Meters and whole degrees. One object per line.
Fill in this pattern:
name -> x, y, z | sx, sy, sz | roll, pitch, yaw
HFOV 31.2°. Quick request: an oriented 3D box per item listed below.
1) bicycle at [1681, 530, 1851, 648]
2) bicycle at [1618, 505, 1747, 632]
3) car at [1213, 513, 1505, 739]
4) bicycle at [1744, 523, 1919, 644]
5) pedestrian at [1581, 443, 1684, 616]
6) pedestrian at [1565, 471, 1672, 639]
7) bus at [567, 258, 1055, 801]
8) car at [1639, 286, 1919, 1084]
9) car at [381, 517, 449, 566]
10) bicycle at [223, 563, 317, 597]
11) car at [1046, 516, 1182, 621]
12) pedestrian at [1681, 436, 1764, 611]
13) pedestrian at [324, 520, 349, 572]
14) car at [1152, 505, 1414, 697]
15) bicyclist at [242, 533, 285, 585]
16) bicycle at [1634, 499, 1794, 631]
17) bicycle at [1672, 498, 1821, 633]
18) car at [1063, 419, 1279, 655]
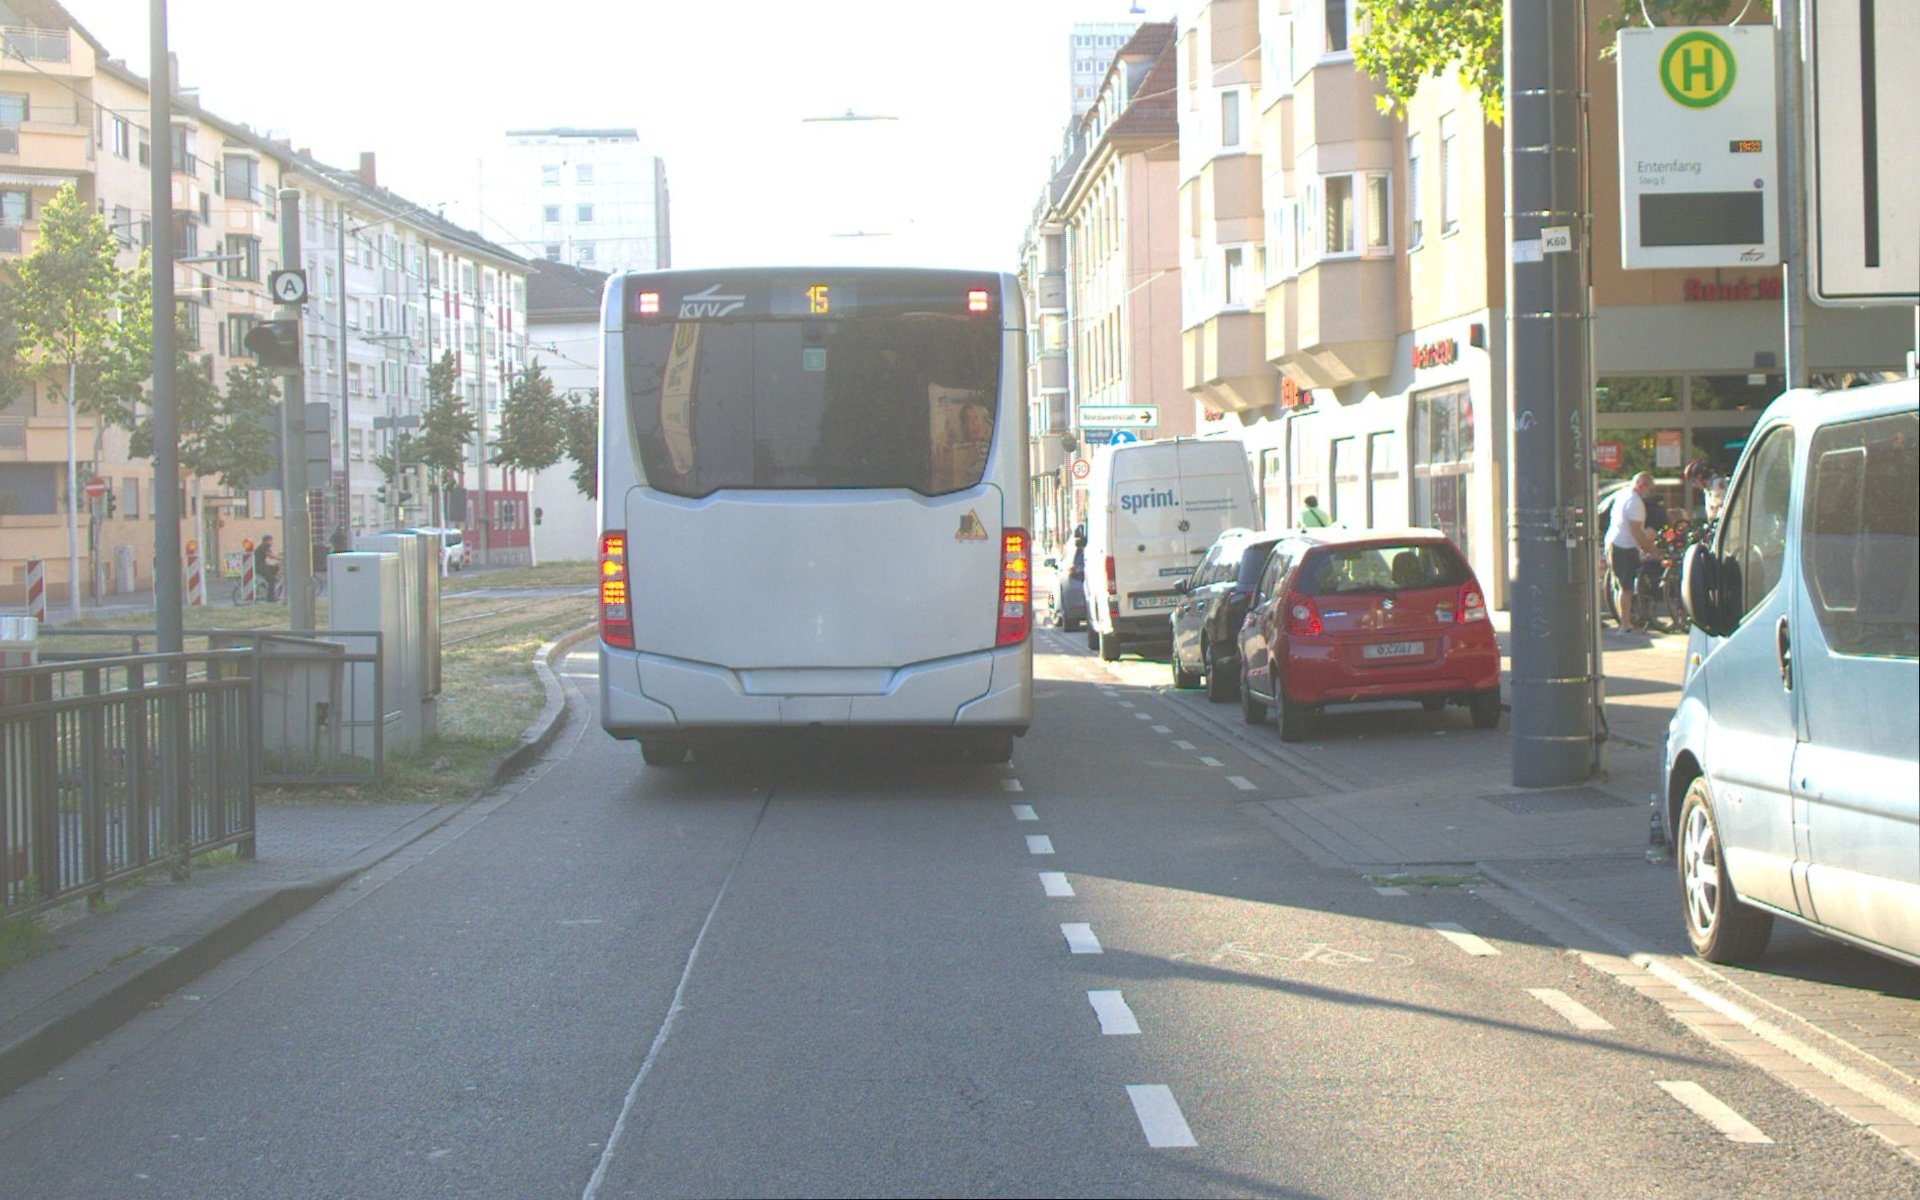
bicycle -> 7.311, -0.110, 31.167 | 1.578, 1.010, 0.651 | -3, 2, -39
bicycle -> 7.196, -0.318, 34.210 | 1.516, 1.222, 0.403 | -2, 2, -41
car -> 2.923, 0.142, 25.848 | 1.569, 1.489, 3.626 | -3, 1, -2
bicycle -> 7.764, -0.159, 30.524 | 1.675, 1.010, 0.651 | -3, 2, -39
pedestrian -> 7.086, -0.748, 36.257 | 0.806, 1.745, 0.768 | -4, 2, -1
pedestrian -> 6.662, -0.464, 34.812 | 0.659, 1.631, 0.990 | -5, 2, -8
bus -> -0.905, -0.499, 23.813 | 2.738, 3.045, 8.854 | 0, 1, -1
car -> 3.409, 0.184, 9.956 | 1.884, 2.071, 4.563 | -1, 1, -1
car -> -23.173, -2.519, 146.286 | 1.994, 2.007, 4.000 | -1, 1, 3
bicycle -> -15.793, -0.466, 78.695 | 2.062, 0.730, 0.763 | -1, 1, -12
car -> 2.359, -0.521, 53.549 | 1.838, 1.531, 4.230 | -2, 1, -1
pedestrian -> 7.970, -0.802, 35.951 | 0.527, 1.775, 0.651 | -5, 2, -8
pedestrian -> -24.267, -2.093, 133.809 | 0.887, 2.007, 0.789 | -1, 1, -7
car -> 2.889, -0.044, 31.655 | 1.696, 1.525, 4.653 | -4, 1, -2
bicyclist -> -15.935, -0.950, 78.660 | 0.932, 1.157, 0.644 | -2, 1, -12
bicycle -> 7.348, -0.347, 33.457 | 1.578, 1.222, 0.651 | -3, 2, -39
bicycle -> 7.420, -0.332, 32.400 | 0.647, 1.222, 1.579 | 0, 2, 42
car -> 2.500, -0.785, 42.235 | 2.017, 2.542, 5.785 | -5, 1, -1
